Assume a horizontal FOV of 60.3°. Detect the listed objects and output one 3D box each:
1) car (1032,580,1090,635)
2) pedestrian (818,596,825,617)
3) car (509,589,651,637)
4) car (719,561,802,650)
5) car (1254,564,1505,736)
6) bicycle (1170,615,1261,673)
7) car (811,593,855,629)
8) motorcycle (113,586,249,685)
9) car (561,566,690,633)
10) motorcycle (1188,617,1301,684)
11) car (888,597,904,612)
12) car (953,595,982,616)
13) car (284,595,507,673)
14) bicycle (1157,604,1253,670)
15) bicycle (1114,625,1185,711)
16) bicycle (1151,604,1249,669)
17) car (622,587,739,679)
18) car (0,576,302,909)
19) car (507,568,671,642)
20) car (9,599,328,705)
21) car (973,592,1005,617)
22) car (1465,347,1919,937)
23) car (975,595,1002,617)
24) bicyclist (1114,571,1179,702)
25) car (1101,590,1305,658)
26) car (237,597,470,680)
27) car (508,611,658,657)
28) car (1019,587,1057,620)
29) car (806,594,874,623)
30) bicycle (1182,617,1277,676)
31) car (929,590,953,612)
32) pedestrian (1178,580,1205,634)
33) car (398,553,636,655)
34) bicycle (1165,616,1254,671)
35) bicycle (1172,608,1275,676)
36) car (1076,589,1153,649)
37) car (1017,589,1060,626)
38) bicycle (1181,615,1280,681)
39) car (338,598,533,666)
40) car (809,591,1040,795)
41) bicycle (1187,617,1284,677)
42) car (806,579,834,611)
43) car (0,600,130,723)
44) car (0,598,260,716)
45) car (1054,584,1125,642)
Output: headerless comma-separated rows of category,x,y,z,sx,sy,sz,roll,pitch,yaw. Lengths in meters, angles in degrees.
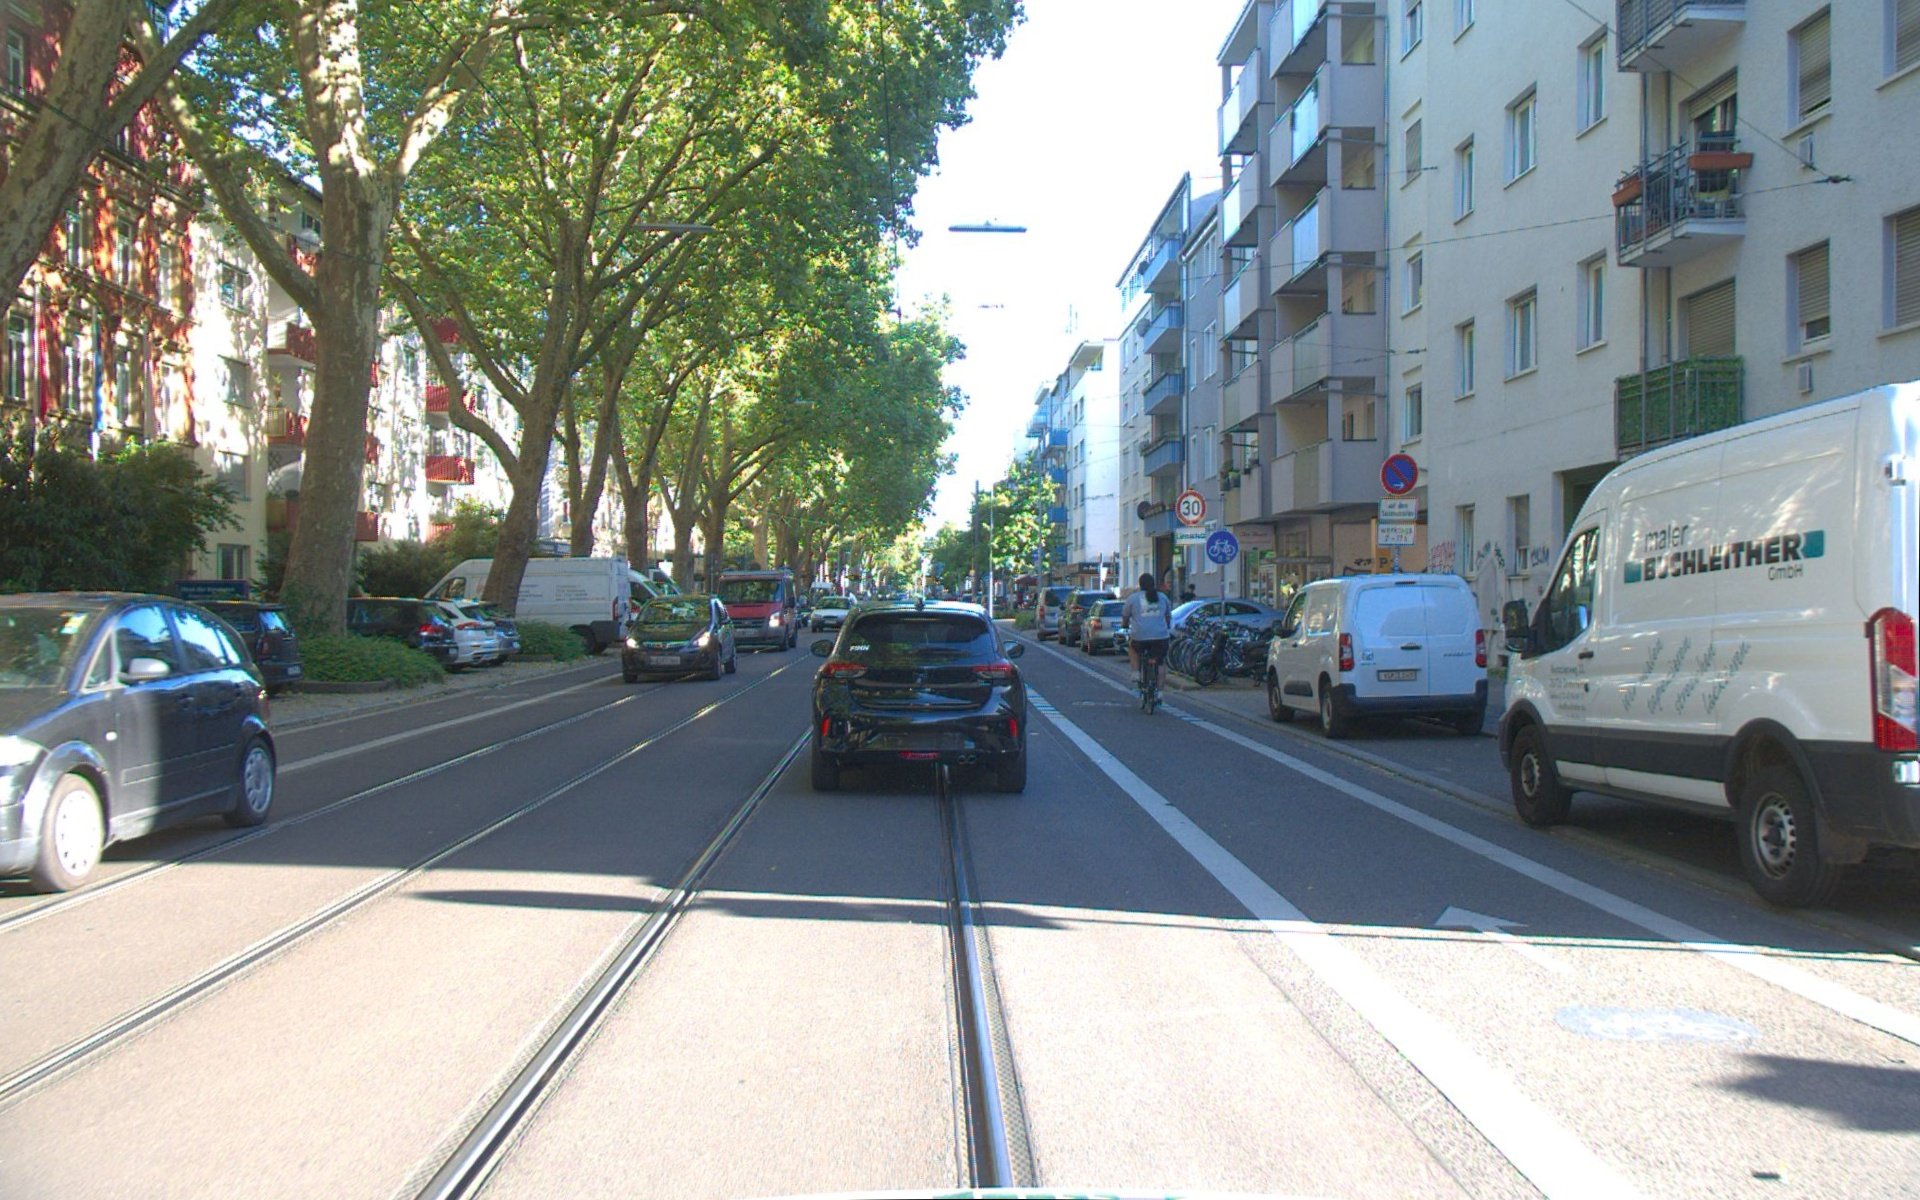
car,3.664,0.269,60.549,1.820,1.923,4.924,0,0,0
pedestrian,-10.540,0.505,125.860,0.496,1.610,0.526,0,0,-2
car,-12.557,0.417,54.819,4.282,1.566,1.872,0,0,-2
car,-5.314,0.128,44.602,1.879,2.266,4.957,0,0,-3
car,4.942,0.529,20.131,1.821,1.852,4.349,0,0,-2
bicycle,4.875,0.836,31.588,1.619,1.038,0.457,-2,0,-2
car,-5.126,0.431,67.229,1.684,1.382,4.467,0,0,-3
motorcycle,-13.951,0.618,29.739,1.031,1.660,3.011,2,-1,-1
car,-13.372,-0.018,66.382,4.846,2.612,2.080,0,0,-5
motorcycle,4.834,0.852,28.118,1.781,1.099,0.617,-1,0,22
car,-7.188,0.458,185.953,1.714,1.680,4.000,0,0,0
car,0.582,0.403,134.283,1.955,1.668,3.996,0,0,-5
car,-11.430,0.676,33.676,3.906,1.522,1.830,0,0,-1
bicycle,4.821,0.729,32.559,1.786,1.212,0.457,-2,0,-2
bicycle,2.616,0.922,23.019,0.687,1.111,1.989,2,-1,-2
bicycle,4.795,0.731,33.040,1.854,1.212,0.457,-2,0,-2
car,-4.951,0.543,29.706,1.684,1.536,3.720,0,0,-3
car,-5.217,0.654,9.433,1.602,1.536,3.689,0,0,-3
car,-12.868,0.171,57.607,5.251,2.521,2.056,0,0,-1
car,-11.708,0.747,24.627,3.905,1.486,1.704,0,0,0
car,1.920,0.310,110.041,1.685,1.601,4.080,0,0,-5
car,5.098,0.186,9.949,2.106,2.539,6.086,0,0,-2
car,1.974,0.418,115.591,1.684,1.516,3.679,0,0,-3
bicyclist,2.583,0.496,23.007,0.770,1.790,0.914,0,0,-2
car,5.868,0.560,40.154,4.533,1.462,1.859,-2,0,-13
car,-11.335,0.699,31.086,3.716,1.486,1.704,1,0,-1
car,-11.933,1.051,52.538,4.320,1.409,1.933,0,0,-2
car,3.992,0.170,85.184,1.820,1.680,4.000,0,0,0
car,-7.136,0.507,98.625,3.906,1.680,1.864,0,0,-2
bicycle,4.910,0.847,30.183,1.619,1.004,0.457,-2,0,-2
car,-1.452,0.061,127.747,1.820,1.680,4.000,0,0,0
pedestrian,7.606,0.222,54.389,0.741,1.750,0.719,0,0,-3
car,-11.491,0.098,43.190,5.624,2.580,2.162,0,0,-1
bicycle,4.837,0.839,32.079,1.619,0.983,0.457,-2,0,-2
bicycle,4.916,0.781,30.896,1.757,1.168,0.704,-2,0,-2
car,4.175,0.476,45.156,1.689,1.552,4.513,0,0,0
car,3.642,0.353,77.413,1.820,1.680,4.000,0,0,0
bicycle,4.747,0.836,29.067,1.619,1.073,0.457,-2,0,-2
car,-11.447,0.686,36.255,3.730,1.457,1.704,0,0,0
car,-0.309,0.681,13.845,1.646,1.447,3.626,1,0,-2
bicycle,4.926,0.836,29.637,1.619,1.004,0.457,-2,0,-2
car,-12.126,-0.429,143.274,2.050,2.629,5.995,0,0,-2
car,-12.169,0.707,19.529,3.906,1.393,1.605,0,0,-1
car,-11.635,0.727,21.973,3.905,1.486,1.770,0,0,0
car,4.019,0.387,51.798,1.731,1.734,4.281,0,0,-2
